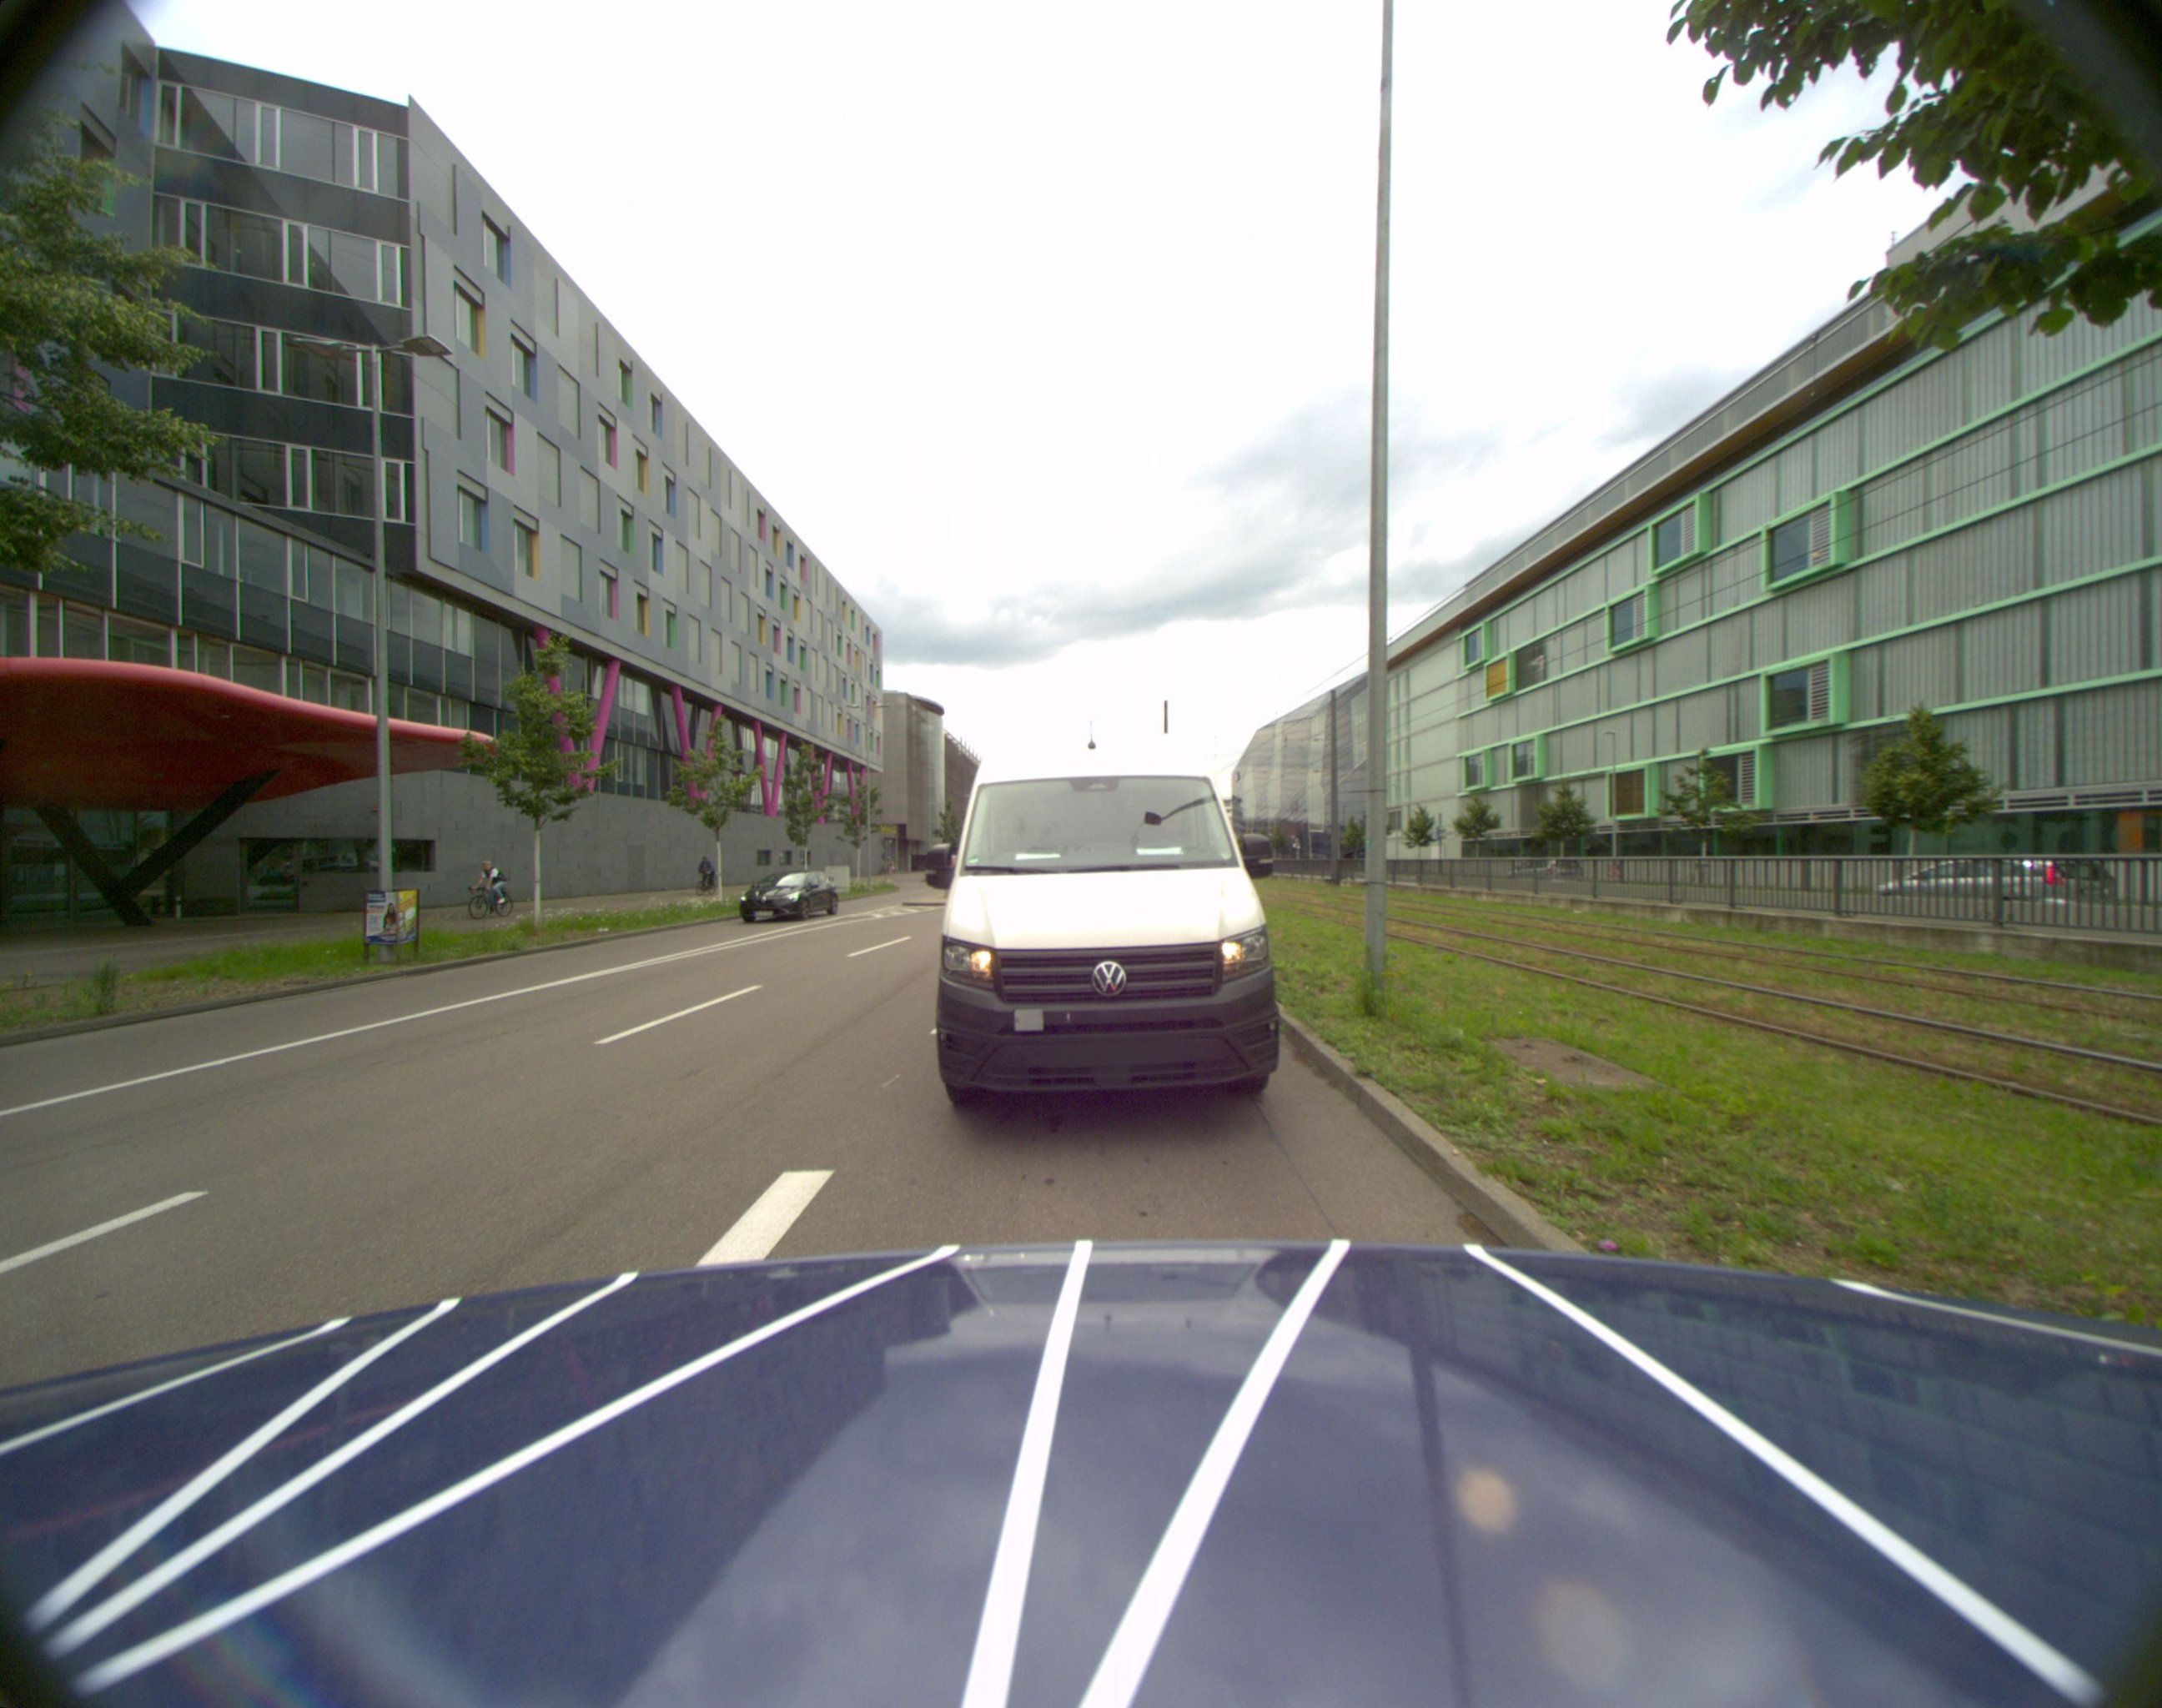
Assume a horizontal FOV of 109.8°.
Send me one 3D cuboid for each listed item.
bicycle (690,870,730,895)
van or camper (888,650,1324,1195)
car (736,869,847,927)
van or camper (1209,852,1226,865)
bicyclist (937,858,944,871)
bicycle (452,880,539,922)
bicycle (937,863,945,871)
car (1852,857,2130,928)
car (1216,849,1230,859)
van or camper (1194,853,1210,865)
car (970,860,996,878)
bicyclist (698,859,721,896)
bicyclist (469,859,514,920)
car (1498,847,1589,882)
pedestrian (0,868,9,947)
[{"bbox_3d":[-18.250,1.432,37.414,0.801,1.150,2.346,-1,-4,0],"label":"bicycle"},{"bbox_3d":[0.124,0.335,6.153,2.043,2.572,5.041,-1,0,0],"label":"van or camper"},{"bbox_3d":[-8.472,1.231,22.661,1.567,1.453,4.342,-1,0,1],"label":"car"},{"bbox_3d":[24.181,0.750,134.569,2.178,2.273,5.359,0,0,1],"label":"van or camper"},{"bbox_3d":[-19.485,1.406,105.518,0.772,1.776,0.974,0,0,-2],"label":"bicyclist"},{"bbox_3d":[-17.840,1.400,23.234,0.801,1.151,2.345,-1,-1,0],"label":"bicycle"},{"bbox_3d":[-19.479,1.786,105.576,0.785,1.187,2.220,0,0,-2],"label":"bicycle"},{"bbox_3d":[23.706,0.922,20.153,1.725,1.634,4.674,0,0,-1],"label":"car"},{"bbox_3d":[26.642,0.010,142.716,1.998,1.583,4.769,-1,-2,3],"label":"car"},{"bbox_3d":[24.208,0.923,152.201,2.178,2.273,6.507,-2,0,1],"label":"van or camper"},{"bbox_3d":[-8.408,1.250,65.356,1.567,1.452,4.342,-2,0,1],"label":"car"},{"bbox_3d":[-18.263,1.150,37.341,0.784,1.790,0.705,-1,-4,0],"label":"bicyclist"},{"bbox_3d":[-17.858,1.067,23.019,0.784,1.792,0.705,-1,0,0],"label":"bicyclist"},{"bbox_3d":[23.830,0.498,39.354,1.801,1.562,4.577,-3,1,-1],"label":"car"},{"bbox_3d":[-21.776,1.056,14.691,0.786,1.573,0.915,0,0,2],"label":"pedestrian"}]
